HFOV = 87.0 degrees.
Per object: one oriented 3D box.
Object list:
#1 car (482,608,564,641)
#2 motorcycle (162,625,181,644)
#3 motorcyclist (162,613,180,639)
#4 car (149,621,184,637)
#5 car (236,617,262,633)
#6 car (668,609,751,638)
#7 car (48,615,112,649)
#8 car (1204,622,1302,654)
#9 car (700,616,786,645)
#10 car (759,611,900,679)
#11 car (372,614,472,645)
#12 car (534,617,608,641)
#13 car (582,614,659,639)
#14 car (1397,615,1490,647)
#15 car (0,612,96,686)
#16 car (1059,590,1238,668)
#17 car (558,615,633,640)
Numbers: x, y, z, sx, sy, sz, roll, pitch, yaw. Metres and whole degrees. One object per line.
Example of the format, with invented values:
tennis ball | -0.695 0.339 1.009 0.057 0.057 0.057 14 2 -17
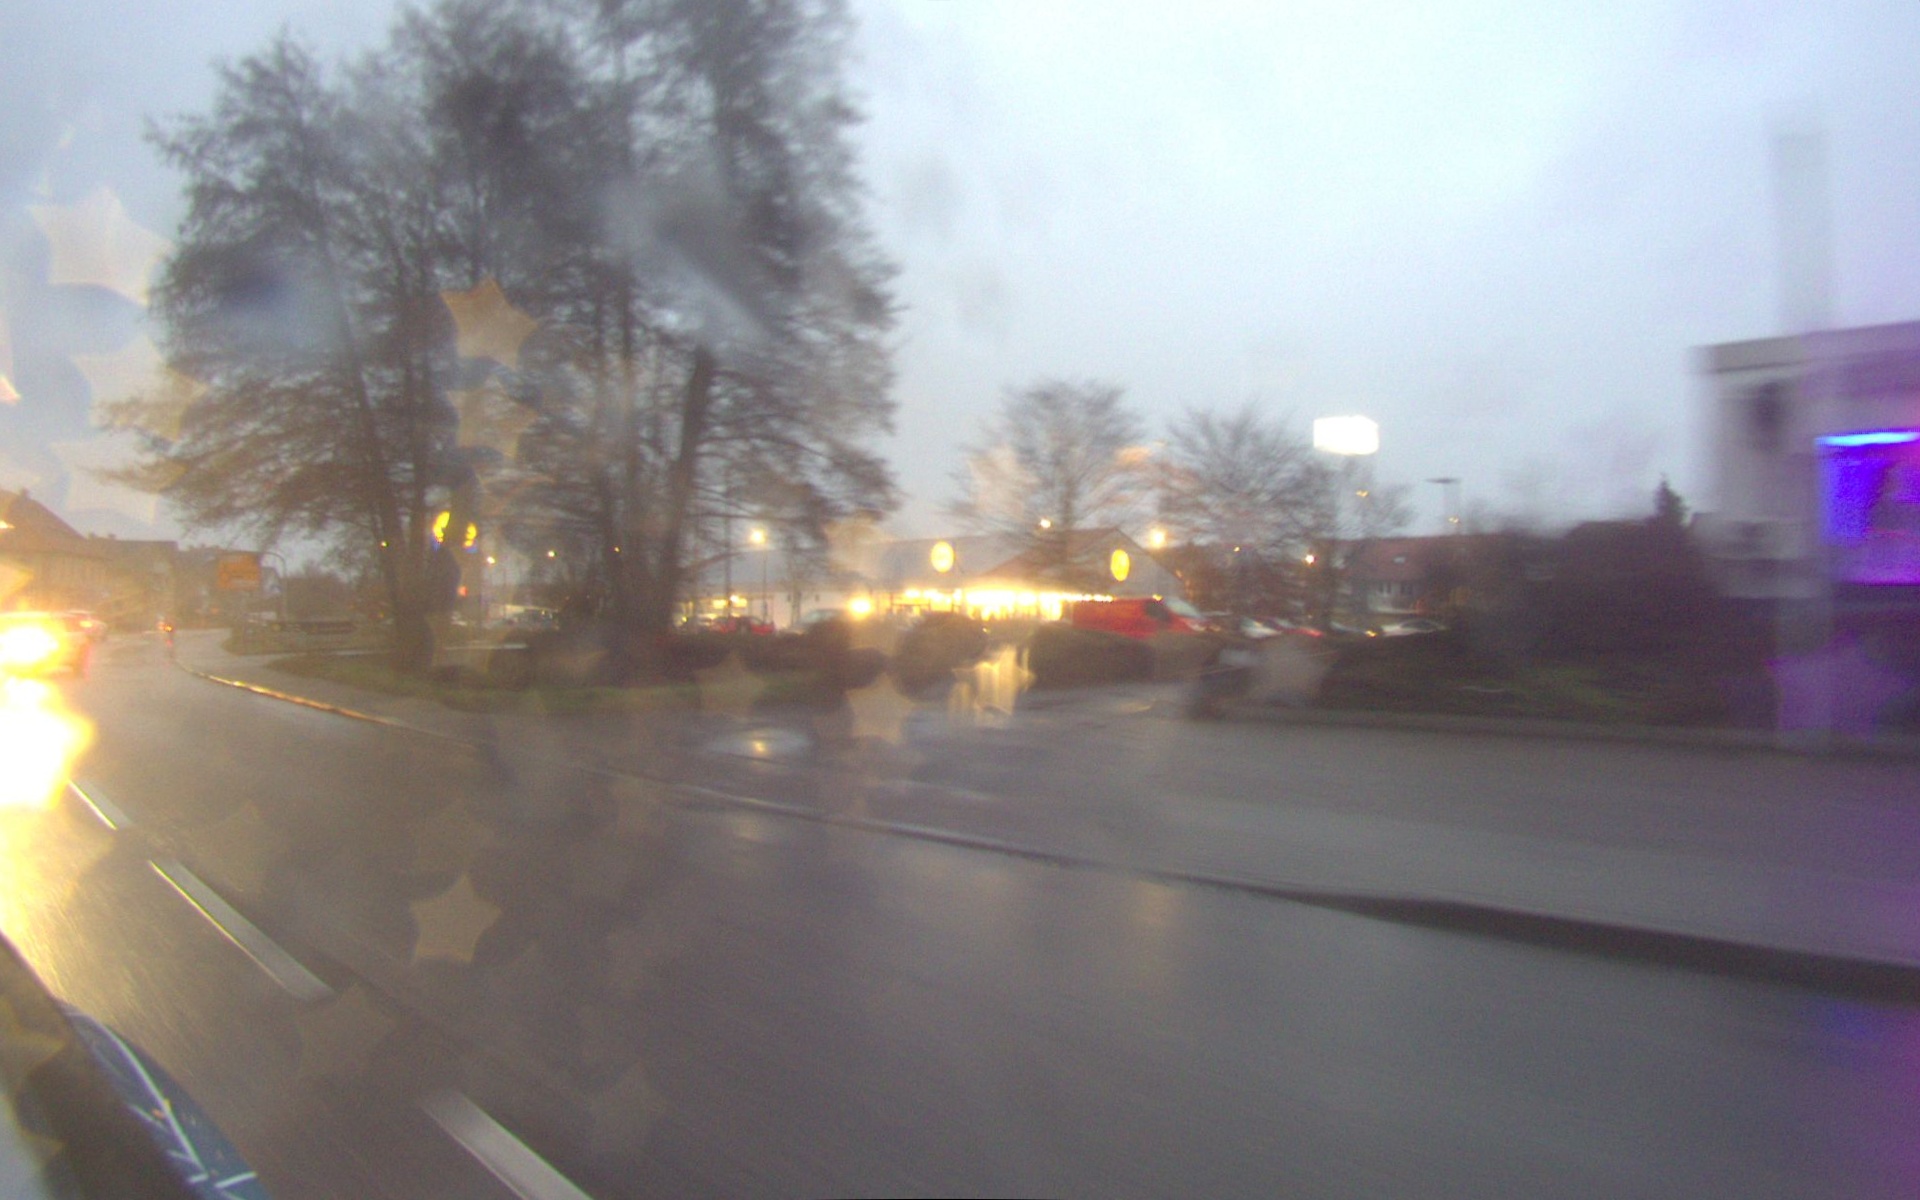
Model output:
car | -32.428 1.836 75.195 2.217 2.300 5.132 -2 -4 40
motorcycle | -47.390 2.067 60.789 0.854 1.031 2.113 0 0 -39
motorcyclist | -47.387 1.552 60.780 0.854 1.496 0.910 0 0 -39
car | -72.657 2.657 92.733 1.746 1.442 3.809 -1 -1 -25
car | -86.402 3.051 122.980 1.915 1.819 4.186 0 -1 -26
car | -14.575 1.406 59.047 2.054 1.575 4.385 -2 -4 40
car | -47.647 1.701 54.894 1.747 1.736 4.435 0 -1 -30
car | 11.671 1.516 40.360 3.392 1.139 1.544 -3 0 42
car | -12.039 1.734 56.425 2.054 1.575 4.385 -2 -4 40
car | -4.294 1.466 33.955 2.123 1.992 4.606 -3 -1 35
car | -31.080 1.680 58.610 2.031 1.725 4.722 -1 -2 39
car | -26.994 2.026 70.354 2.054 1.575 4.385 -2 -4 40
car | -22.501 1.799 67.216 2.054 1.575 4.385 -2 -4 40
car | 28.171 1.818 59.046 4.519 1.652 1.910 -3 0 44
car | -24.607 1.245 26.446 1.867 1.712 4.254 -2 1 -23
car | 6.034 0.944 32.864 5.268 2.296 2.256 -3 -1 42
car | -24.805 1.915 68.996 2.054 1.575 4.385 -2 -4 40
